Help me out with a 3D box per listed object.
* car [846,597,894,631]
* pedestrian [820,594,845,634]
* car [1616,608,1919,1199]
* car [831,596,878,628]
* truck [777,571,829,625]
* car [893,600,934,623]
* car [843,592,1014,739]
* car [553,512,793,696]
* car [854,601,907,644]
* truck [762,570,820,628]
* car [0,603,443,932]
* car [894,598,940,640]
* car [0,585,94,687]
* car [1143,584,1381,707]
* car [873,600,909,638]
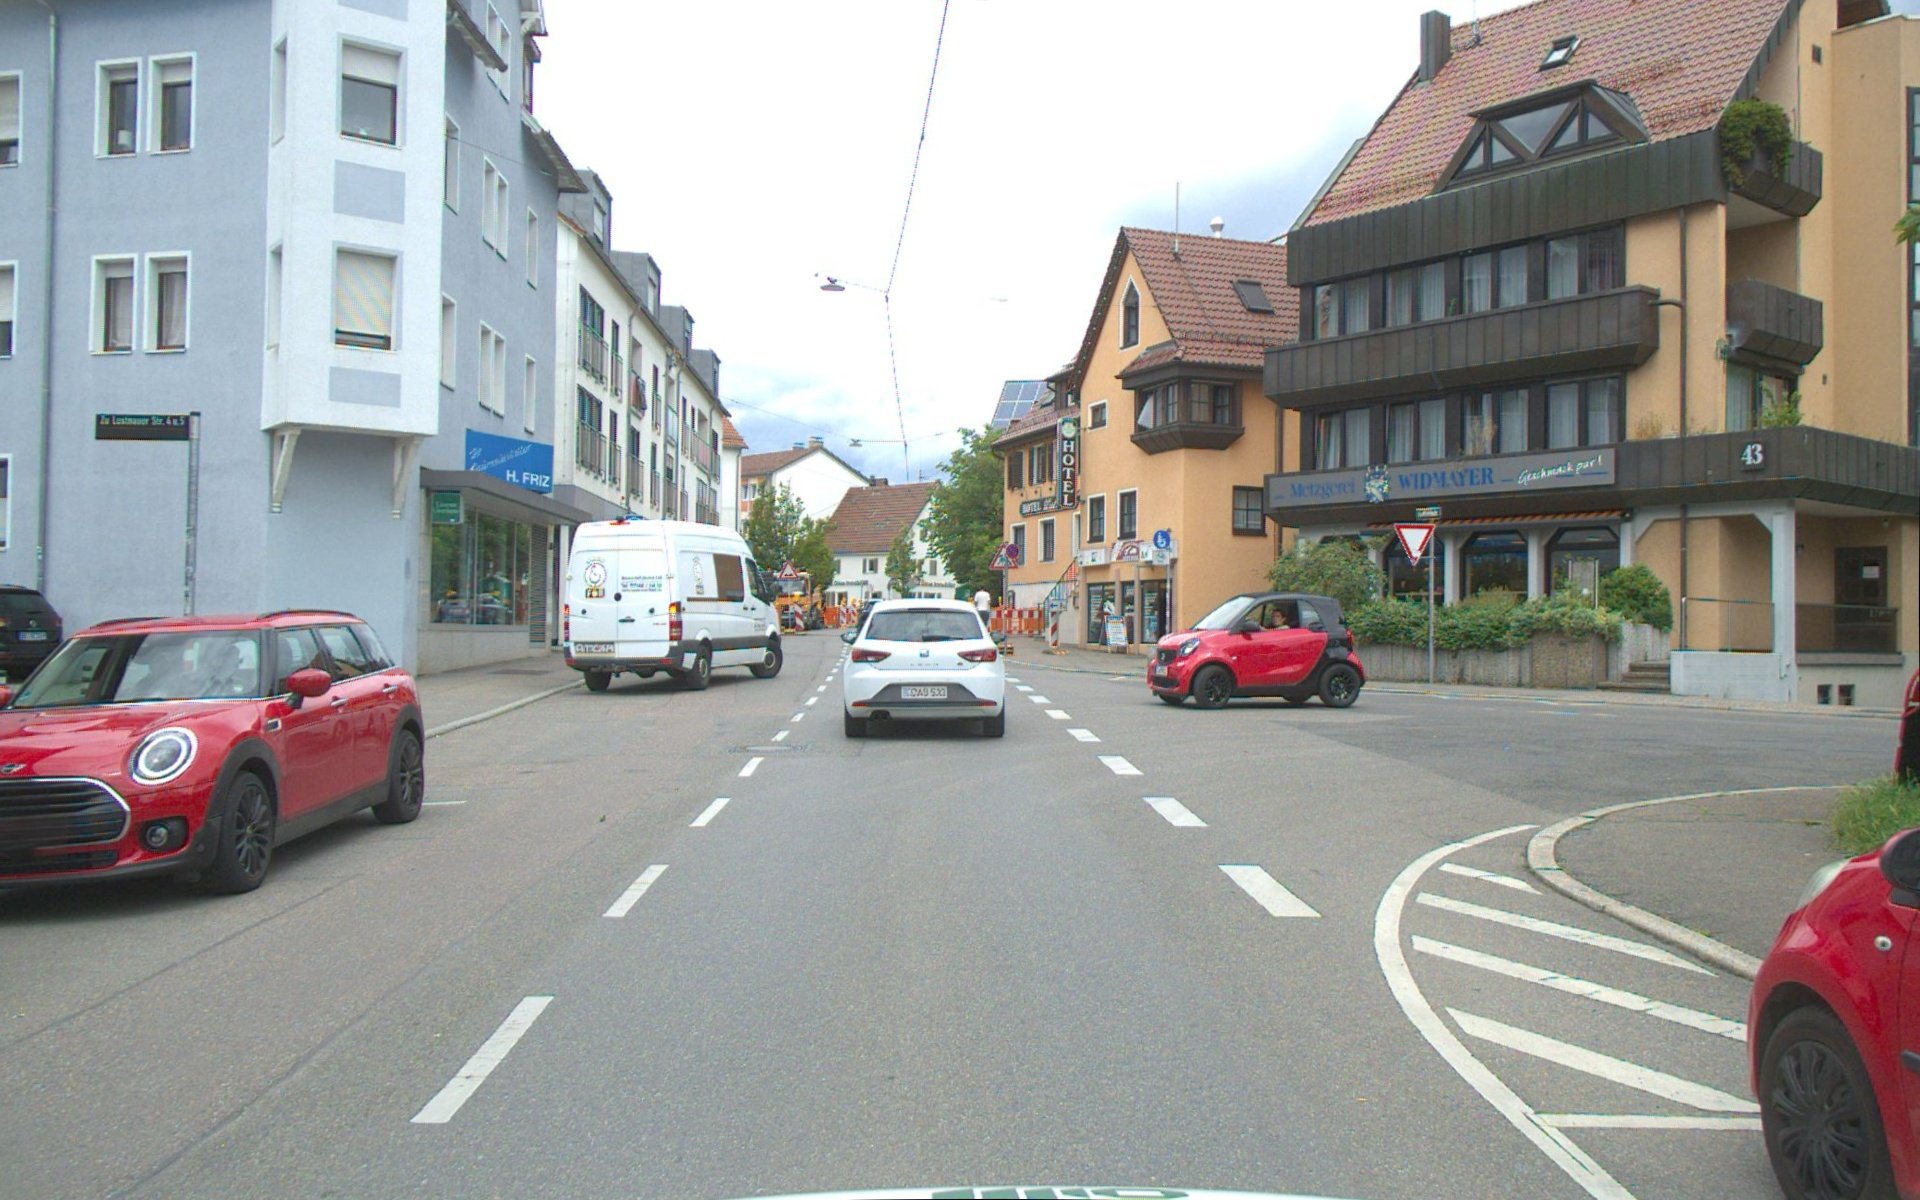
[{"bbox_3d":[-3.973,0.604,73.574,1.722,1.477,4.001,0,0,2],"label":"car"},{"bbox_3d":[-6.648,0.725,86.069,1.203,2.049,1.175,1,0,-1],"label":"pedestrian"},{"bbox_3d":[2.962,0.765,3.285,1.722,1.477,4.000,0,0,0],"label":"car"},{"bbox_3d":[-5.838,0.641,91.818,1.756,1.731,4.003,1,0,9],"label":"car"},{"bbox_3d":[-7.680,-0.126,81.400,2.108,2.502,5.393,1,0,-1],"label":"truck"},{"bbox_3d":[-3.115,0.772,111.078,1.721,1.477,4.003,0,0,14],"label":"car"},{"bbox_3d":[-0.365,0.671,18.750,1.723,1.477,3.999,0,0,-1],"label":"car"},{"bbox_3d":[-4.634,0.044,27.768,2.106,2.734,5.549,1,0,11],"label":"car"},{"bbox_3d":[-2.884,0.787,59.461,1.724,1.477,3.995,0,0,-5],"label":"car"},{"bbox_3d":[-7.665,-0.048,75.487,2.108,2.502,5.393,1,0,-1],"label":"truck"},{"bbox_3d":[-4.559,0.810,9.824,1.763,1.505,4.049,-2,0,-2],"label":"car"},{"bbox_3d":[-1.661,0.713,64.148,1.726,1.524,3.788,1,0,-1],"label":"car"},{"bbox_3d":[-15.637,0.480,25.551,3.803,1.418,1.820,2,1,17],"label":"car"},{"bbox_3d":[4.129,0.612,22.824,2.759,1.538,1.703,1,1,-13],"label":"car"},{"bbox_3d":[-3.545,0.958,85.909,1.758,1.862,3.999,1,0,-1],"label":"car"}]
